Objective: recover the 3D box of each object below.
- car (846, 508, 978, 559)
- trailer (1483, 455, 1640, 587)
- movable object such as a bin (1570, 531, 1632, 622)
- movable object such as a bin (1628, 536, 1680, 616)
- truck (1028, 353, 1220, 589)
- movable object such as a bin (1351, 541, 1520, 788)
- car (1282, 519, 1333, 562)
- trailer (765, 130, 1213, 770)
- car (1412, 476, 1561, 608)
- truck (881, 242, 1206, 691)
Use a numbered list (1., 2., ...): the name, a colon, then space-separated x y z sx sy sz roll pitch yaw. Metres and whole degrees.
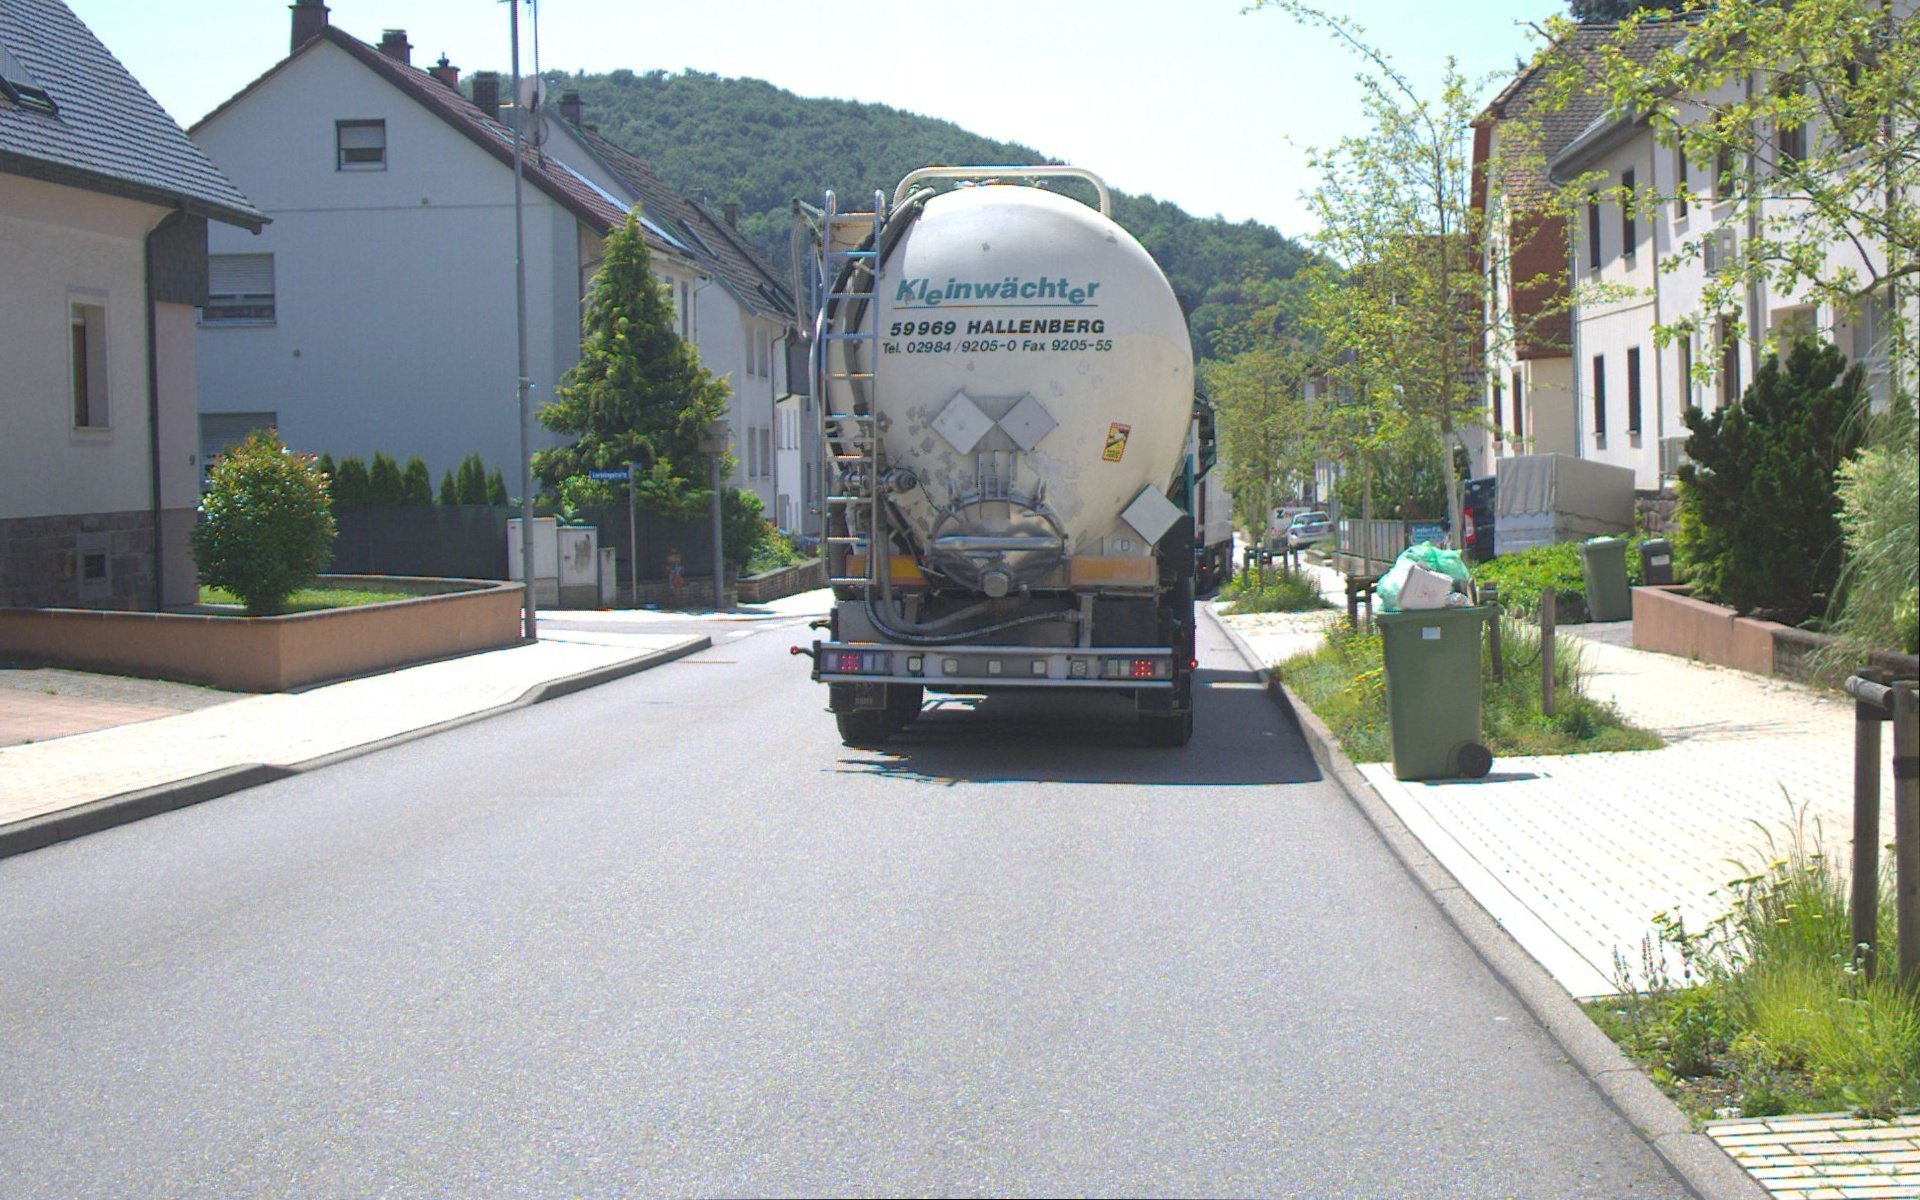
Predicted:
1. car: -1.624 -2.282 117.383 4.395 1.744 1.878 0 1 3
2. trailer: 9.377 -1.227 53.545 2.267 2.007 1.323 -1 2 -44
3. movable object such as a bin: 8.263 -0.309 44.315 0.684 1.111 0.812 -4 0 9
4. movable object such as a bin: 8.962 -0.315 44.398 0.558 0.982 0.802 -5 0 10
5. truck: 3.556 -2.839 77.601 3.910 4.879 9.796 -2 1 1
6. movable object such as a bin: 2.832 0.370 20.544 0.792 1.390 0.925 -4 1 1
7. car: 12.800 -2.191 126.818 1.791 1.536 4.519 -1 1 5
8. trailer: 0.505 -1.092 26.669 2.796 3.987 10.323 0 2 4
9. car: 8.896 -0.999 58.425 1.852 1.964 4.773 -6 1 3
10. truck: 0.934 -1.265 33.377 2.809 3.923 6.098 1 2 4
